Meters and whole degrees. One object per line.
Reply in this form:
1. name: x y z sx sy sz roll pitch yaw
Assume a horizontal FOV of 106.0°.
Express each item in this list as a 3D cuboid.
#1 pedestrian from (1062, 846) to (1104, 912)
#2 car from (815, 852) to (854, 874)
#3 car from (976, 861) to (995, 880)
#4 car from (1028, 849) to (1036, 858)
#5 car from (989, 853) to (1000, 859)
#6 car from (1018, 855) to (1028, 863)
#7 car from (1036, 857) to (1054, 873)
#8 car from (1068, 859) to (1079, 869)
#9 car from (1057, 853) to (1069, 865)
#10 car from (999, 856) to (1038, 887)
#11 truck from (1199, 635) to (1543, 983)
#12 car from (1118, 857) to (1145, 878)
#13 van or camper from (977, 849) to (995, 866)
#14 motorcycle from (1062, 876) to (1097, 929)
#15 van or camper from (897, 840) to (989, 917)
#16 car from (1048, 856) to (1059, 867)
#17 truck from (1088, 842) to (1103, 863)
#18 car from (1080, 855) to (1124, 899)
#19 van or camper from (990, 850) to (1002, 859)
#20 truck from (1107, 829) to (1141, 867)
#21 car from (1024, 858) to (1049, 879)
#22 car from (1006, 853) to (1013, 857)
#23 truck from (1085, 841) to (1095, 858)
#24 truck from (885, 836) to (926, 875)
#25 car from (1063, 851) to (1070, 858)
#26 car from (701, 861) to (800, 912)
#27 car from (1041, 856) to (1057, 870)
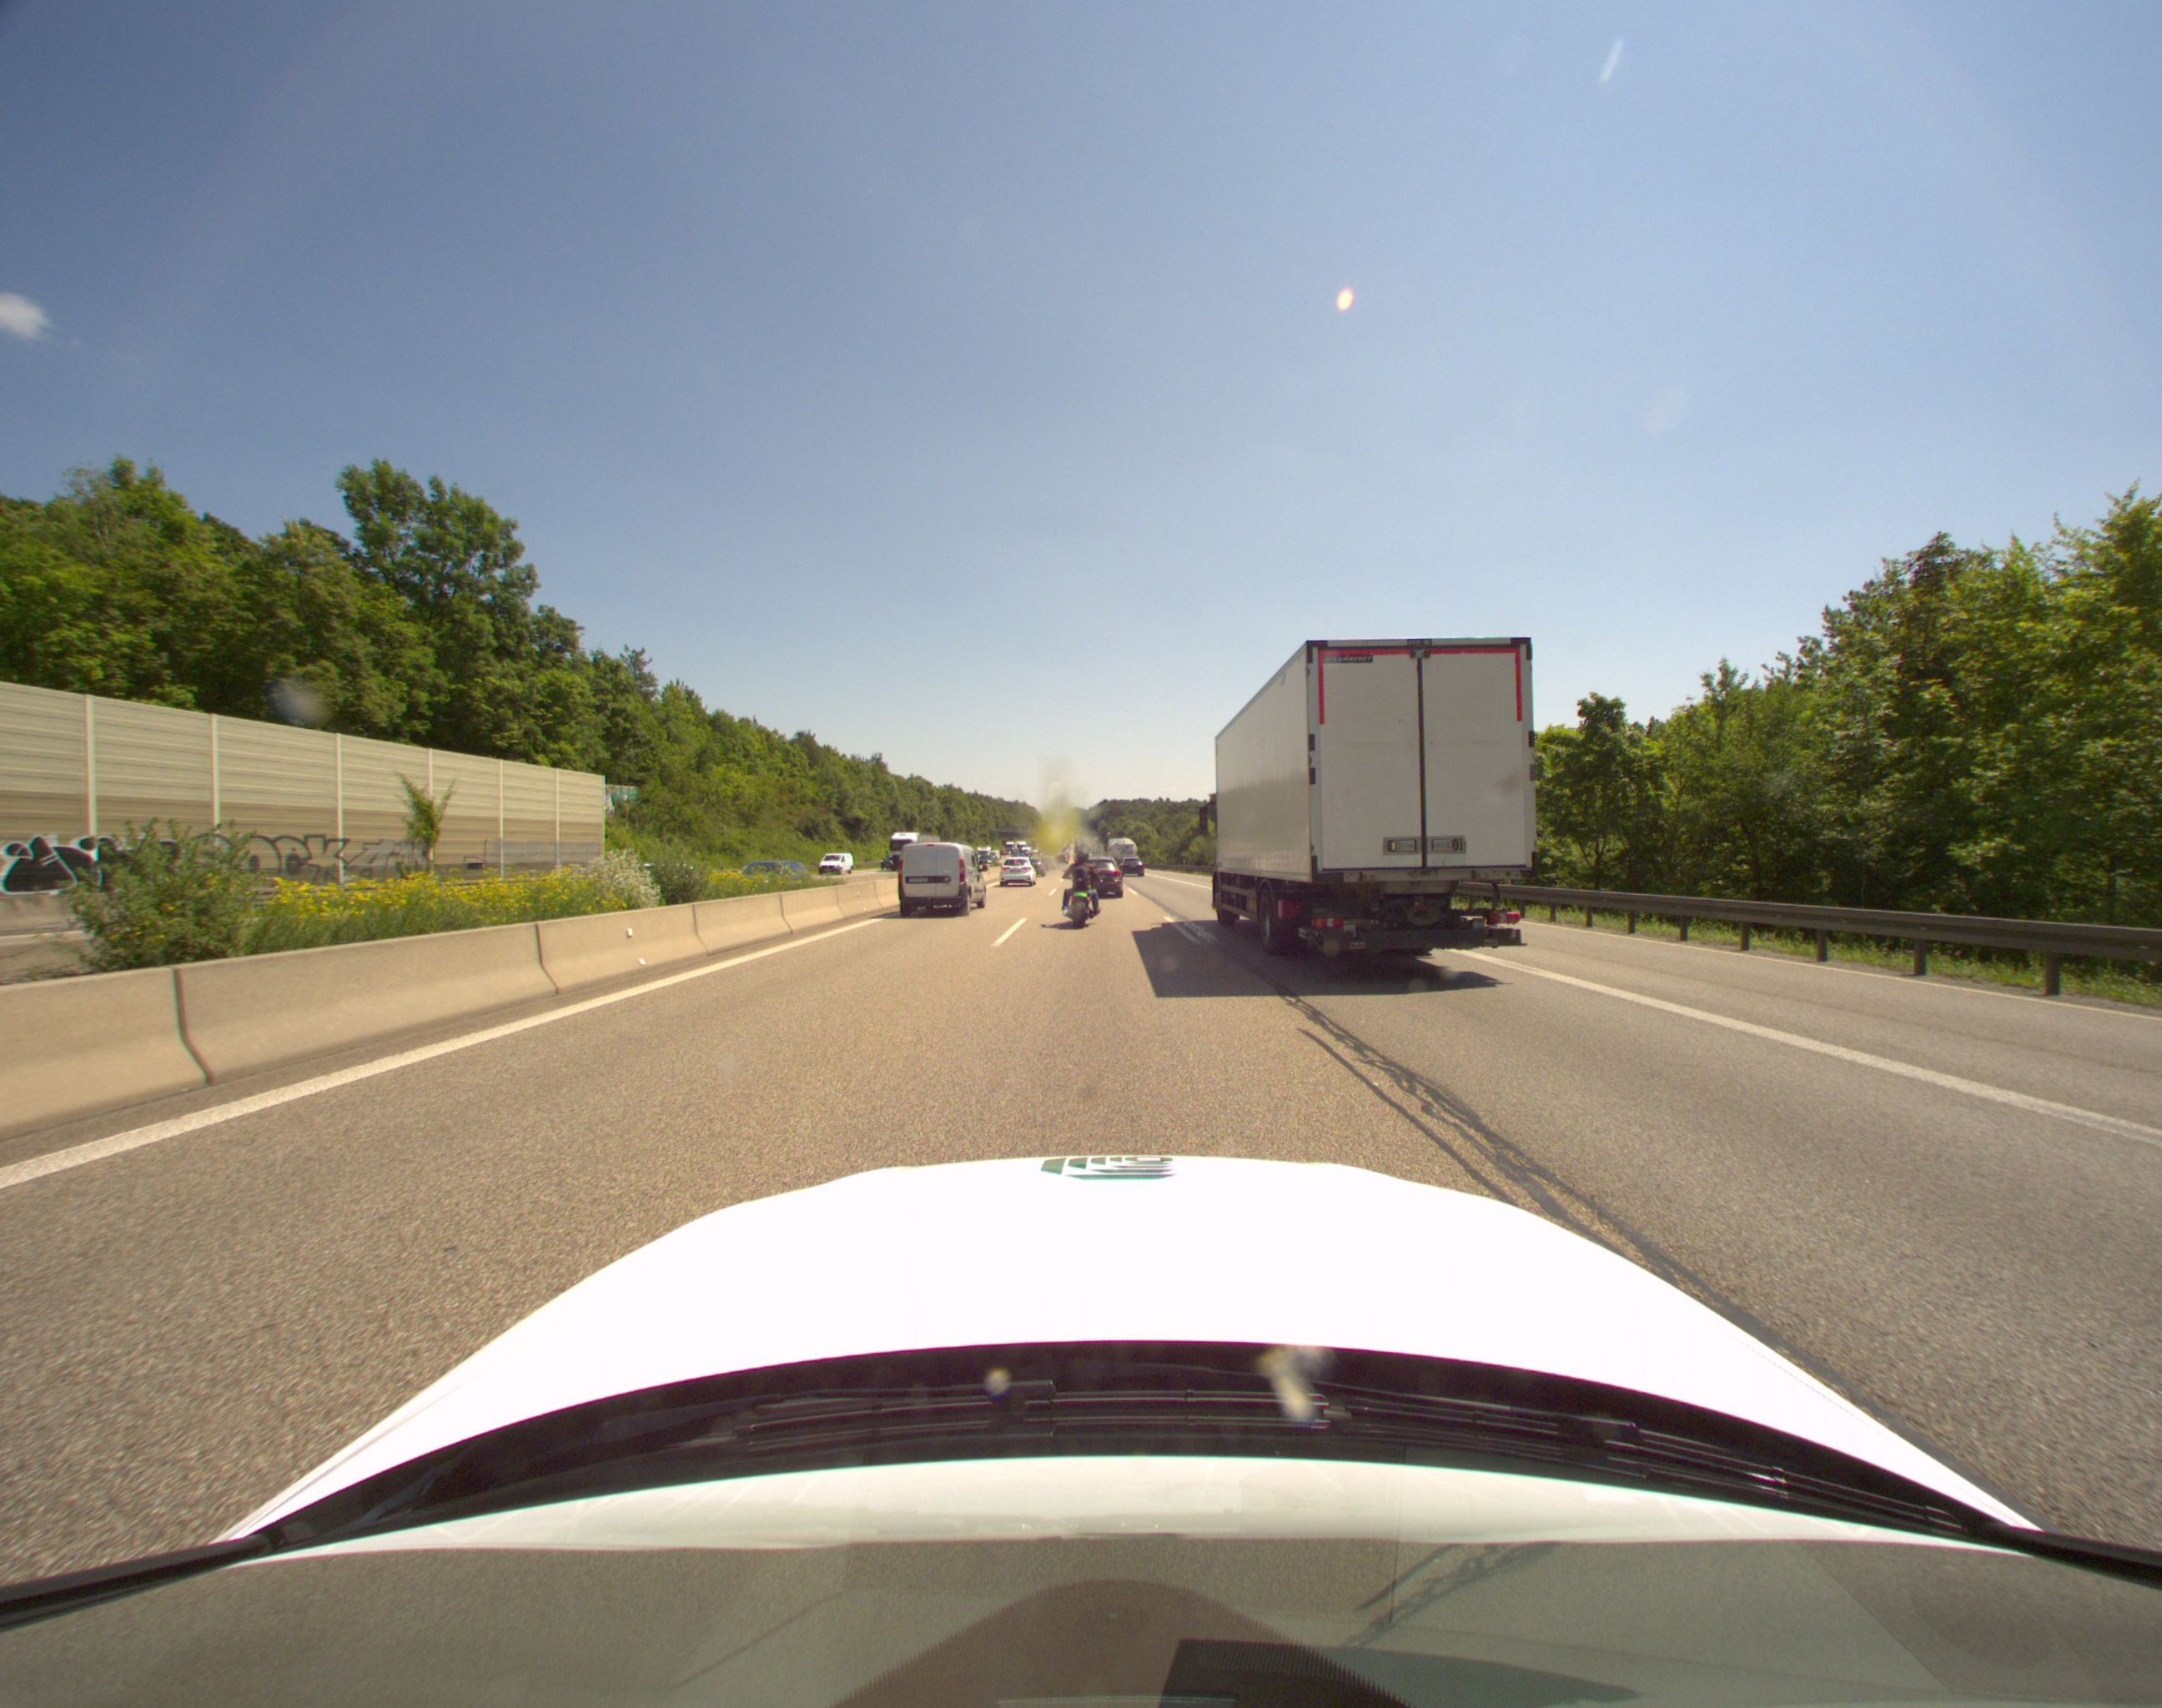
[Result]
1. pedestrian: 0.050 0.521 17.469 0.846 1.362 0.961 -1 0 0
2. car: -21.867 0.784 72.405 1.915 1.867 5.301 -1 -1 -1
3. car: -10.761 1.840 91.882 1.758 2.014 3.997 -1 0 -2
4. car: -12.032 -0.107 201.195 1.887 1.948 3.996 -1 -1 -2
5. car: -18.043 0.455 170.135 1.795 1.347 4.722 0 0 0
6. car: -11.258 1.027 157.666 1.705 1.538 4.127 -1 0 -1
7. car: -3.636 1.088 82.610 1.694 1.478 3.999 1 0 0
8. car: -1.067 1.486 118.768 1.387 1.463 2.780 -1 0 2
9. car: -3.079 0.861 140.509 1.874 1.859 3.999 2 0 0
10. car: -3.220 0.873 42.369 1.694 1.478 3.999 1 0 0
11. truck: 3.986 -0.497 14.115 2.678 3.876 9.784 -1 0 2
12. car: 3.933 1.014 63.932 1.823 1.470 3.999 2 0 0
13. van or camper: -16.320 0.611 140.319 2.263 2.735 6.803 -1 -1 -1
14. motorcycle: -0.008 1.004 17.409 0.689 1.015 2.121 -1 0 1
15. van or camper: -3.661 0.623 22.307 1.790 1.892 4.159 -1 -1 0
16. car: -5.208 1.473 156.670 1.987 2.014 3.999 -1 -1 0
17. truck: 3.374 -0.419 188.333 3.024 4.542 9.980 2 0 0
18. car: 0.793 0.798 30.500 1.527 1.510 4.001 -1 0 2
19. van or camper: -18.235 0.081 174.794 2.069 1.977 3.704 -1 0 0
20. truck: 4.339 -0.504 84.215 2.979 3.671 9.284 -1 -1 0
21. car: -3.405 1.098 62.428 1.694 1.478 3.999 1 0 0
22. car: -22.669 0.264 256.989 1.757 1.370 4.500 0 0 0
23. truck: 2.877 -1.411 262.465 3.024 5.139 9.980 2 0 0
24. truck: -18.481 0.202 86.037 2.805 3.908 7.311 -1 -1 -1
25. car: -4.197 0.186 231.606 1.923 2.014 3.999 -1 -1 0
26. car: -10.536 0.992 26.241 1.611 1.467 3.754 -1 0 1
27. car: -3.666 1.023 93.915 1.694 1.478 3.999 1 0 0
